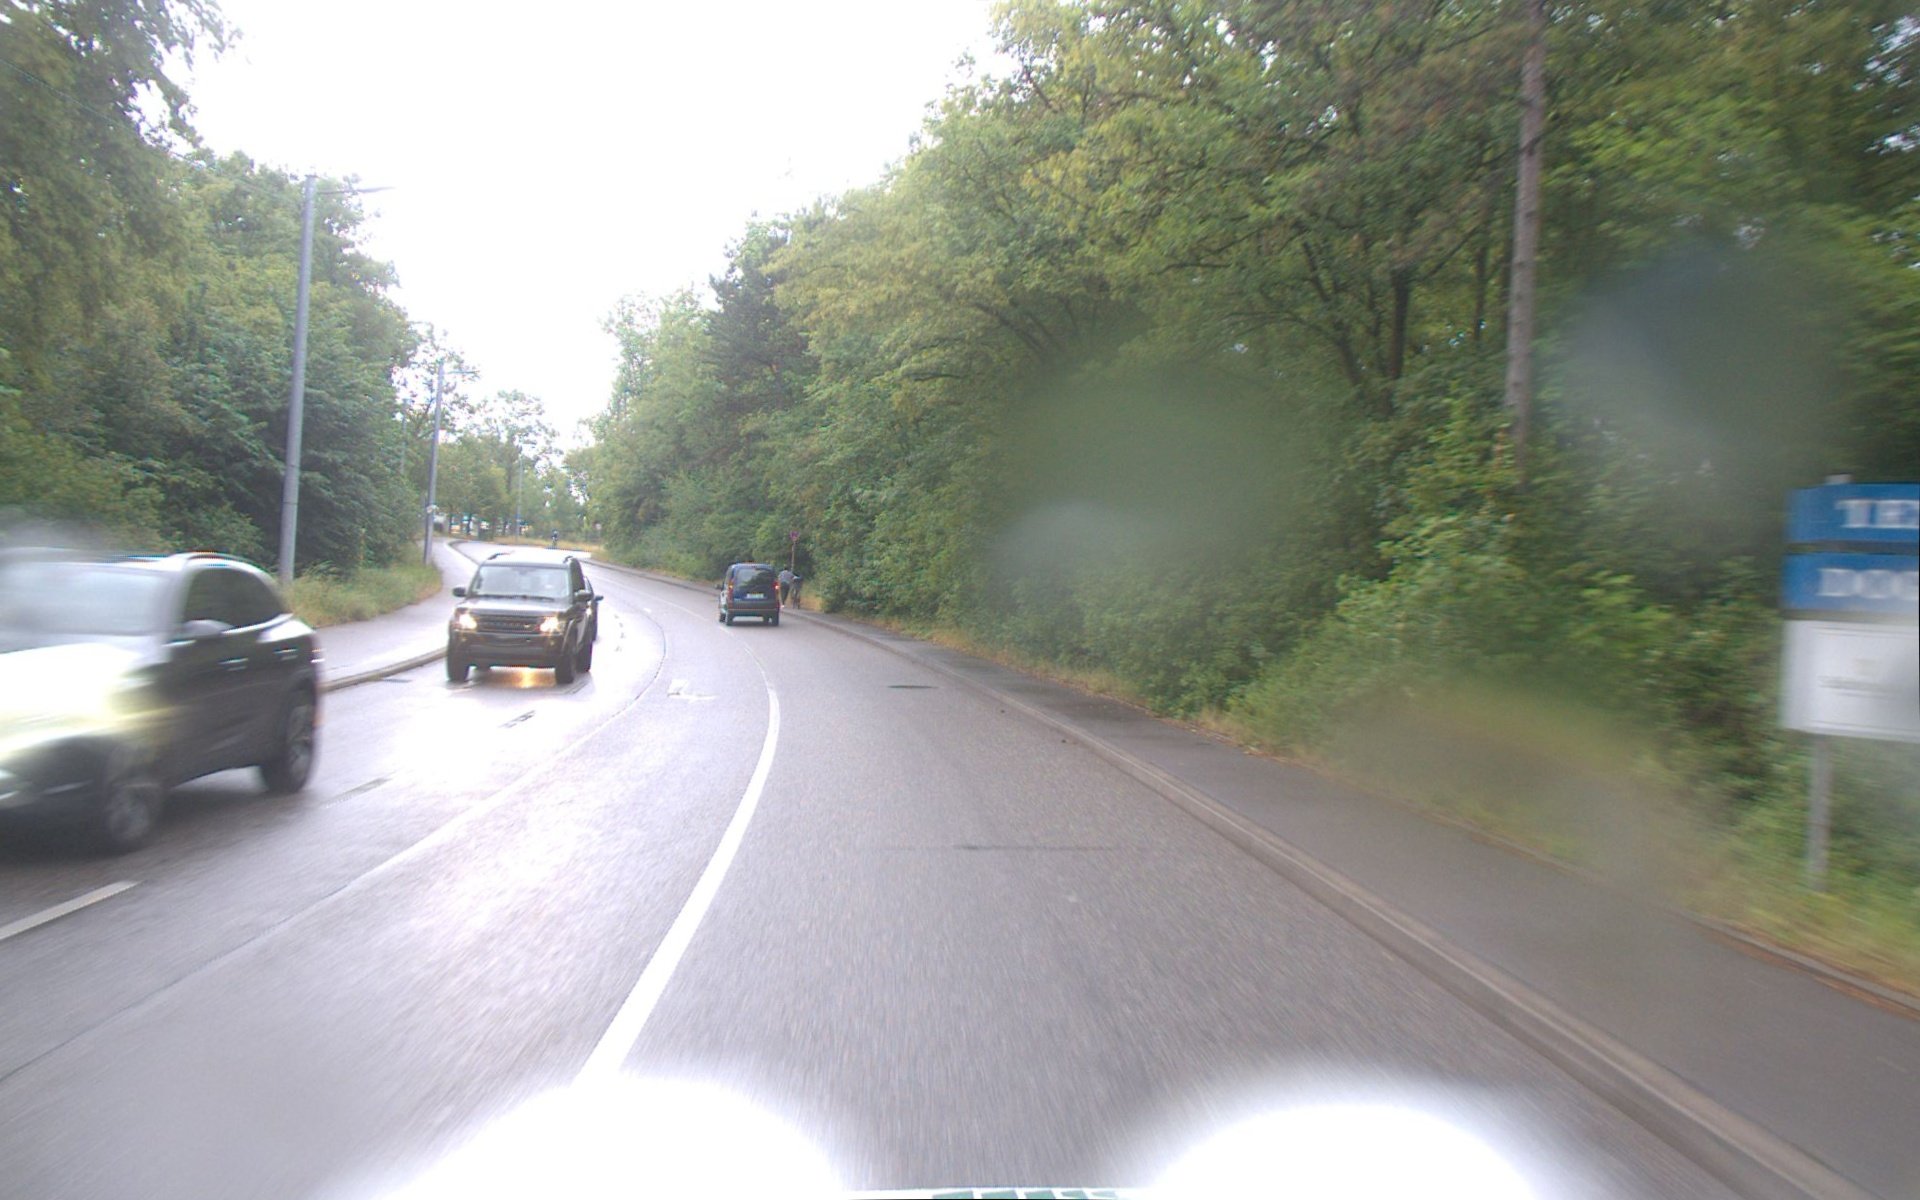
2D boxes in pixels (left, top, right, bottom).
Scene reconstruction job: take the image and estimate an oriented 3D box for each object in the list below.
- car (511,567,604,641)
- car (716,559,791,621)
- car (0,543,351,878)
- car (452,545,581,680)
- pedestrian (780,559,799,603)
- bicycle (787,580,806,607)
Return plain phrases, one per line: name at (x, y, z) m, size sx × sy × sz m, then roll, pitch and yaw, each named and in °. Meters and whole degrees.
car at (-9.629, 0.052, 39.821) m, size 1.793 × 1.465 × 3.993 m, roll 2°, pitch 3°, yaw -9°
car at (-6.428, -0.309, 51.251) m, size 1.796 × 1.825 × 3.985 m, roll 1°, pitch 0°, yaw -15°
car at (-5.364, 0.497, 10.259) m, size 1.773 × 1.622 × 4.513 m, roll 2°, pitch 0°, yaw -5°
car at (-7.031, 0.098, 26.574) m, size 1.795 × 1.874 × 4.697 m, roll -1°, pitch 3°, yaw -13°
pedestrian at (-6.348, -0.702, 61.641) m, size 0.555 × 1.604 × 0.766 m, roll 0°, pitch -1°, yaw -17°
bicycle at (-6.037, -0.251, 61.057) m, size 0.350 × 0.863 × 1.735 m, roll -1°, pitch 4°, yaw -17°
